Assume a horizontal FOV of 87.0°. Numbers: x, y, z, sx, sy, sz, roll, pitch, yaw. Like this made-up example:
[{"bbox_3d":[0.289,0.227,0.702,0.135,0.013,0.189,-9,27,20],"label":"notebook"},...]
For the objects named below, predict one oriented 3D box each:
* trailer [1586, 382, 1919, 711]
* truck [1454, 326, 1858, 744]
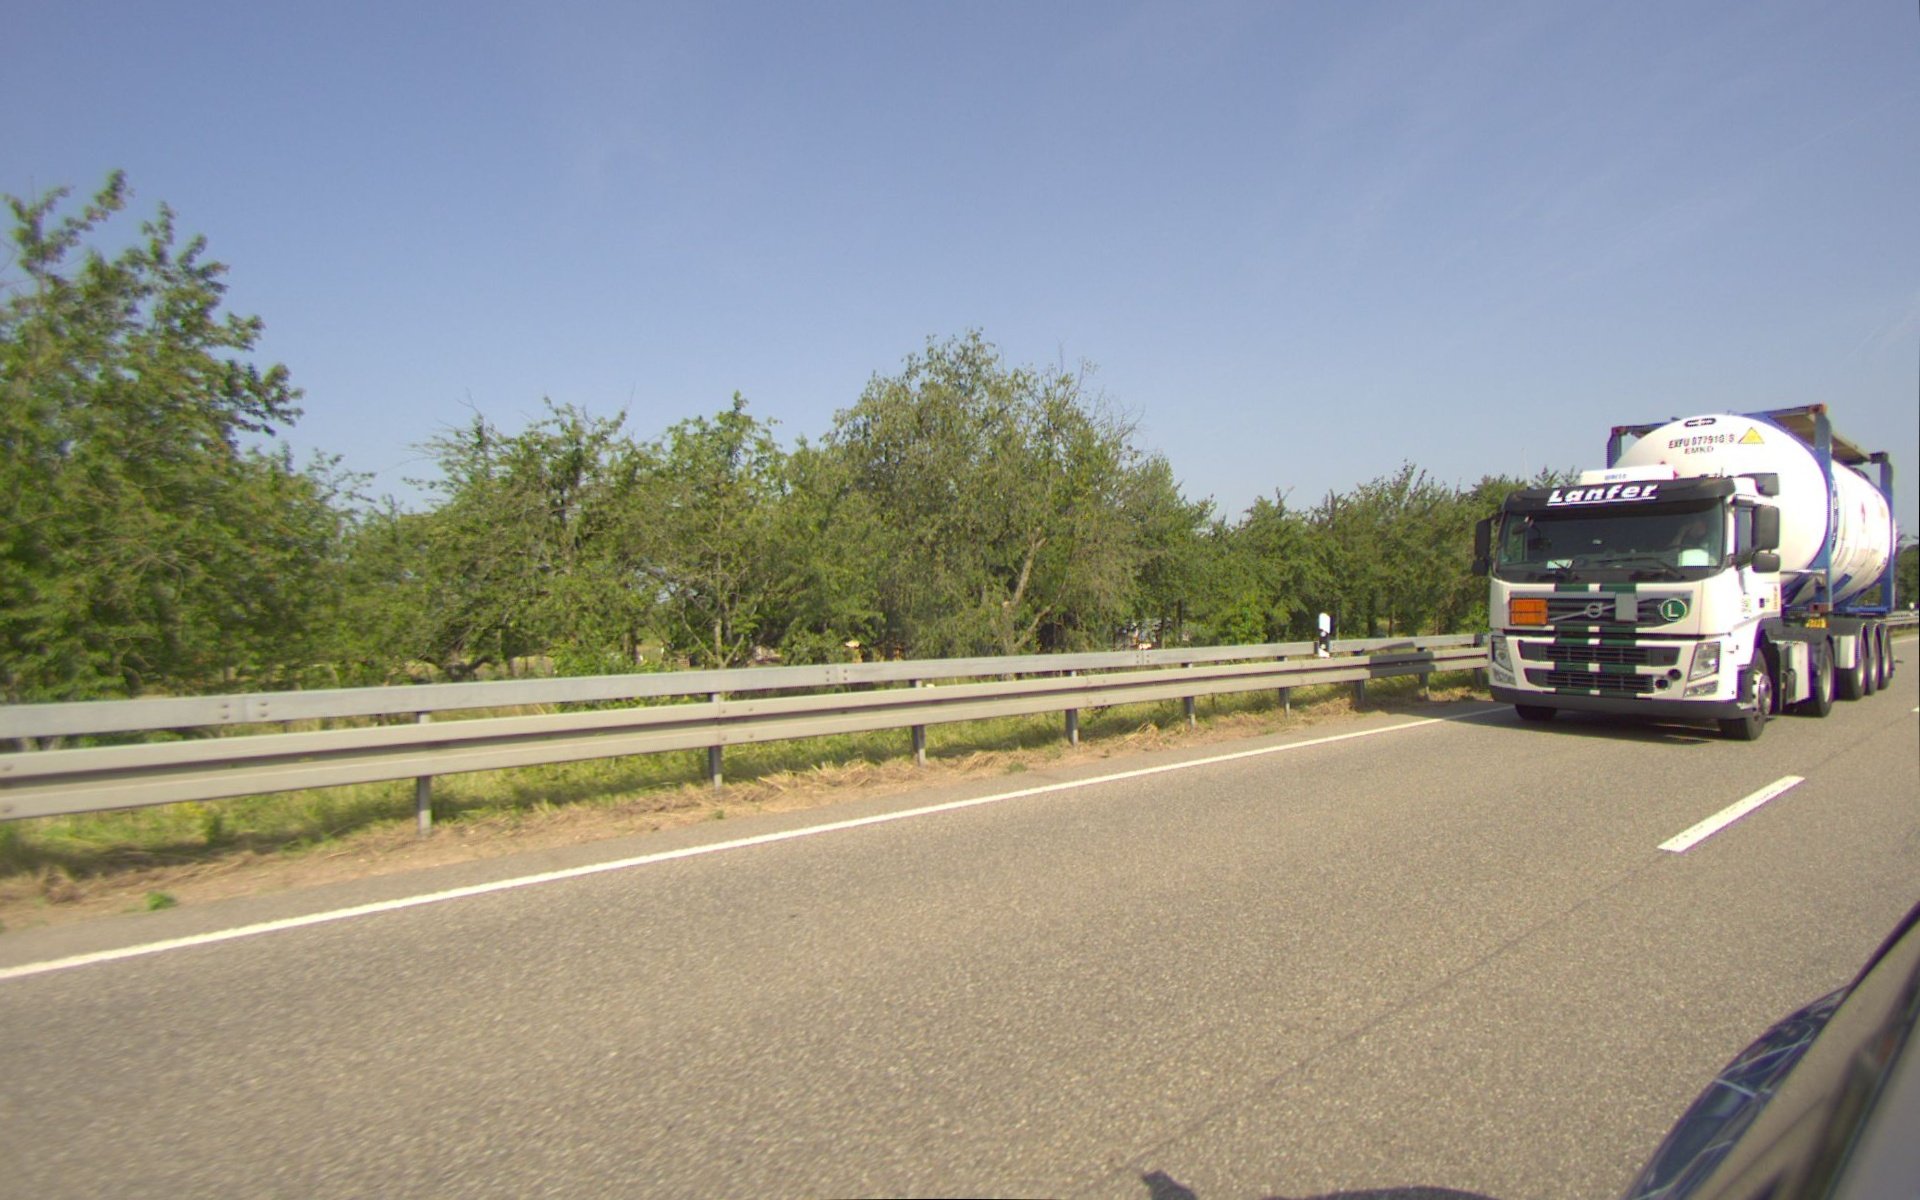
[{"bbox_3d":[12.925,-0.685,16.123,8.043,4.042,2.761,0,0,-41],"label":"trailer"},{"bbox_3d":[8.799,-0.658,12.584,5.528,4.011,2.777,0,1,-40],"label":"truck"}]
